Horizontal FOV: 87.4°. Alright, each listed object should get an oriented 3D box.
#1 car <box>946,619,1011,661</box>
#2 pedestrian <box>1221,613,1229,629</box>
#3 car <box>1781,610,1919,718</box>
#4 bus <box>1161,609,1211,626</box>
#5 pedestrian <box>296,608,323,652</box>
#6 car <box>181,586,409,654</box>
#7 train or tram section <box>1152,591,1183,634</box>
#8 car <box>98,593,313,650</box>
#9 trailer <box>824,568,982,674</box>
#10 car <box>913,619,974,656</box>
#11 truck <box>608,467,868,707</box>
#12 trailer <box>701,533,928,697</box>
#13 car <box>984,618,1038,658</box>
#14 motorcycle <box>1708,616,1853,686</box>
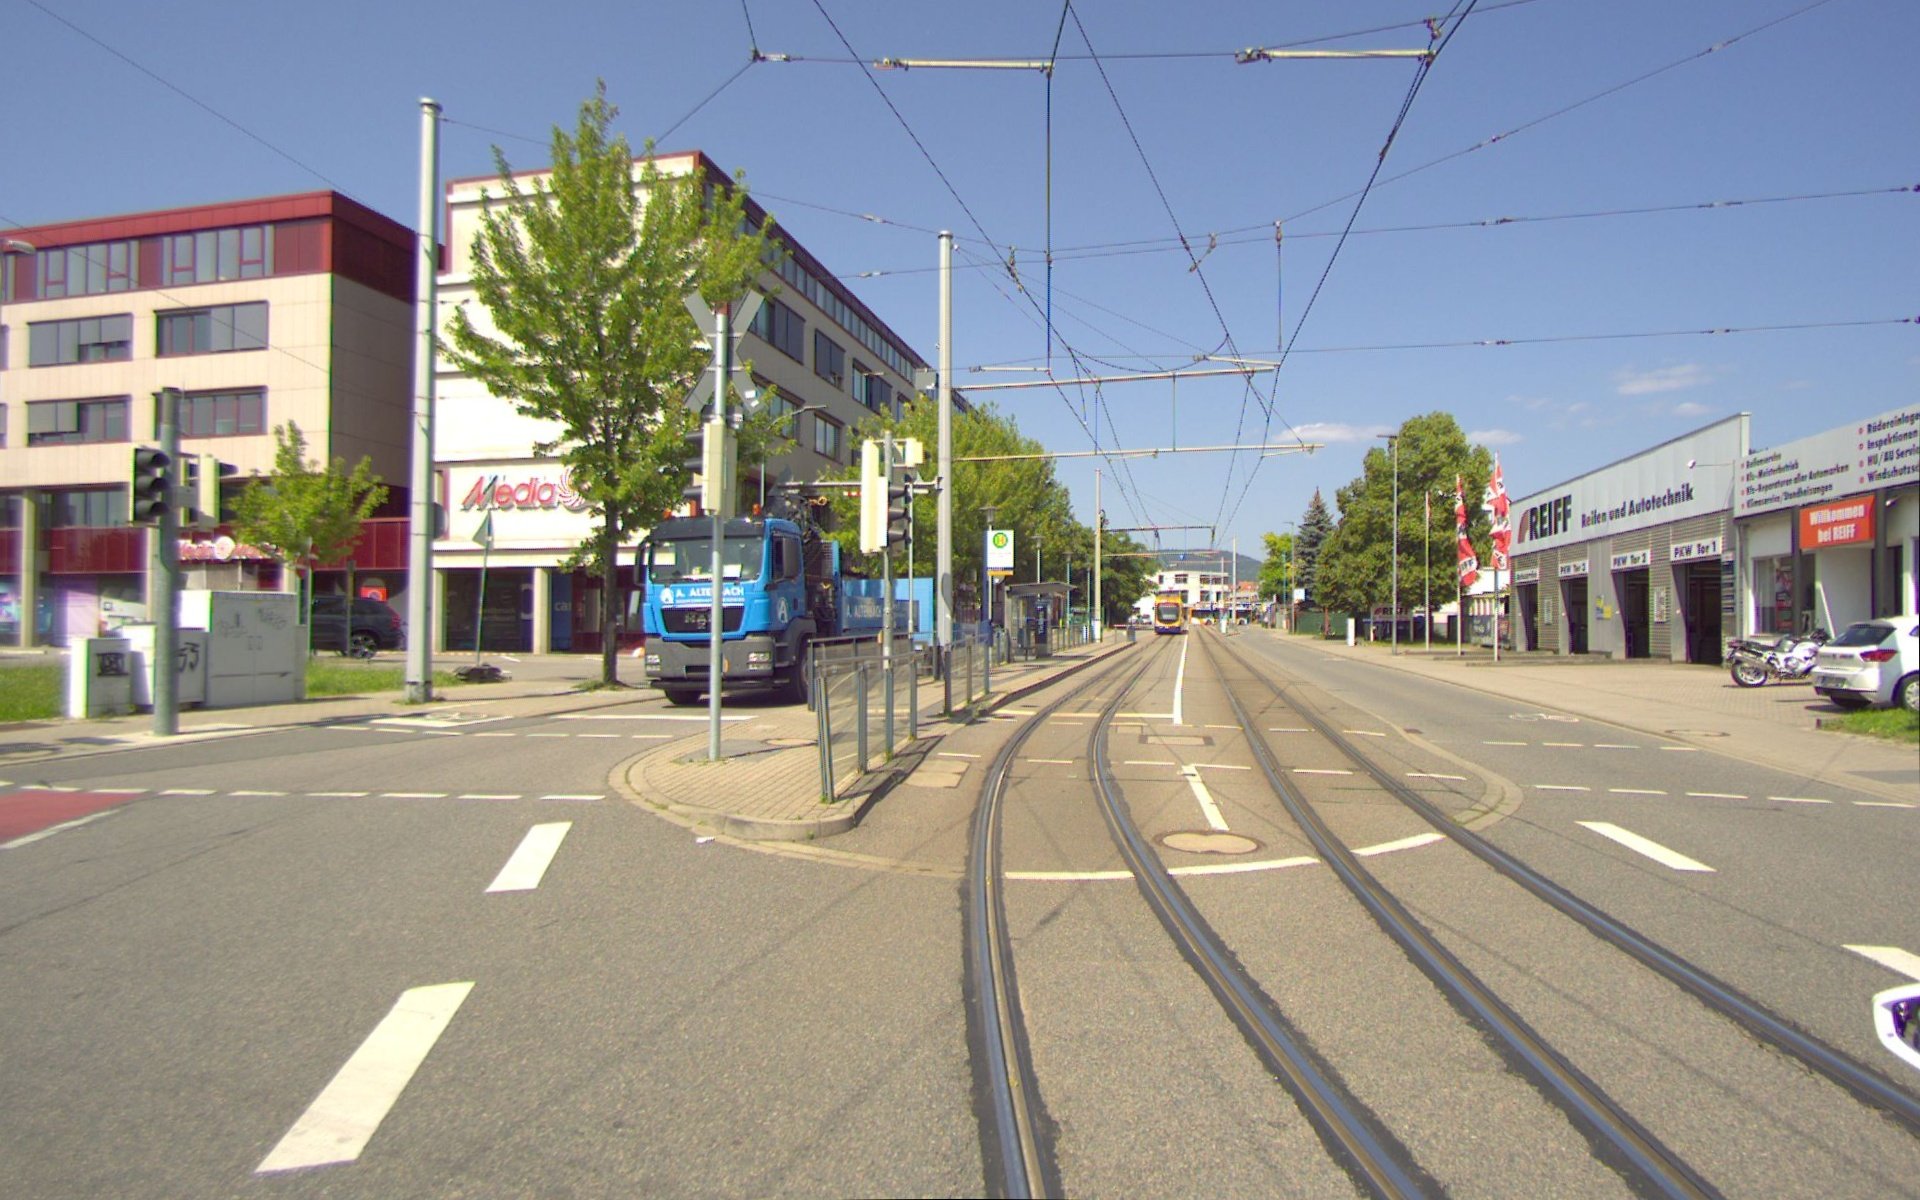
[{"bbox_3d":[0.787,1.517,38.686,1.693,1.492,4.282,-2,-1,12],"label":"car"},{"bbox_3d":[30.034,2.355,113.841,0.731,1.763,0.728,-1,-1,13],"label":"pedestrian"},{"bbox_3d":[15.279,0.876,15.186,3.920,1.482,1.891,-4,-2,12],"label":"car"},{"bbox_3d":[40.539,3.135,180.239,8.613,2.918,2.445,0,-1,11],"label":"bus"},{"bbox_3d":[-20.445,0.949,31.587,0.510,1.374,0.463,0,0,7],"label":"pedestrian"},{"bbox_3d":[-18.464,0.633,28.037,5.074,1.615,2.162,4,-5,-40],"label":"car"},{"bbox_3d":[18.144,1.109,87.569,2.566,3.579,5.746,0,-1,13],"label":"train or tram section"},{"bbox_3d":[-21.624,0.648,29.084,4.819,1.512,1.900,2,-2,-34],"label":"car"},{"bbox_3d":[-1.390,0.586,29.181,2.749,2.663,7.606,0,-1,11],"label":"trailer"},{"bbox_3d":[-0.689,1.608,44.456,1.693,1.483,3.906,1,0,14],"label":"car"},{"bbox_3d":[-3.710,-0.159,18.045,2.697,3.656,5.043,0,-1,12],"label":"truck"},{"bbox_3d":[-2.847,0.331,22.063,2.697,3.017,6.902,0,-1,12],"label":"trailer"},{"bbox_3d":[2.294,1.638,44.295,1.693,1.605,4.074,-3,-2,12],"label":"car"},{"bbox_3d":[16.862,1.051,20.703,2.146,1.325,0.732,-3,-2,12],"label":"motorcycle"}]
